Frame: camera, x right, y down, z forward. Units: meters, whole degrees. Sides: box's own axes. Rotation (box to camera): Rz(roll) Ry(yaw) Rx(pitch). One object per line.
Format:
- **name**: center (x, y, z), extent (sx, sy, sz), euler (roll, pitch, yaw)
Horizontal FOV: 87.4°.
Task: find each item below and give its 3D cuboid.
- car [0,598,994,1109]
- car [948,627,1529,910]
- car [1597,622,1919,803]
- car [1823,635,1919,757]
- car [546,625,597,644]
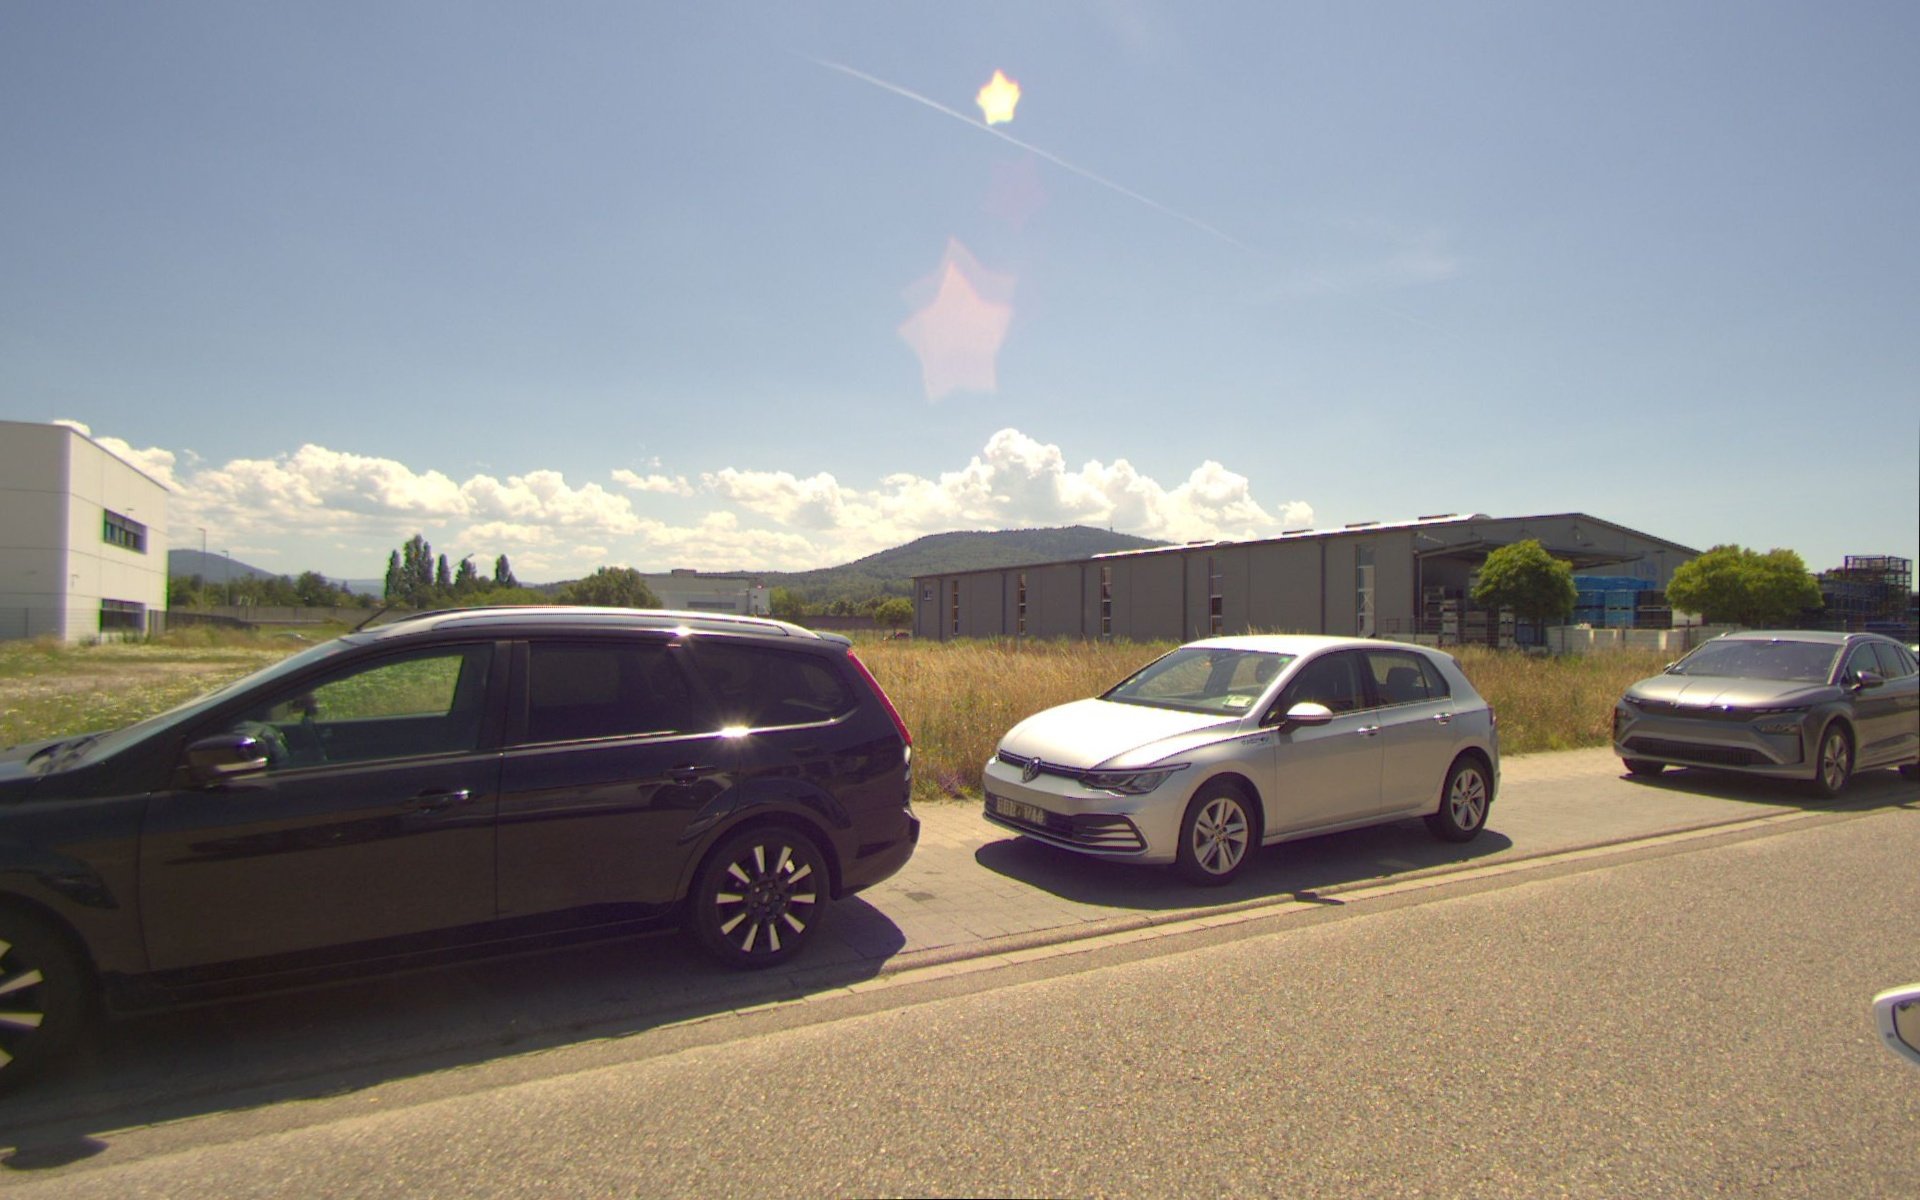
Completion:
- **car**: center (-2.140, 0.807, 4.520), extent (4.329, 1.537, 1.754), euler (2, -1, -31)
- **car**: center (2.132, 0.974, 7.261), extent (4.156, 1.470, 1.753), euler (2, -1, -33)
- **car**: center (9.154, 1.109, 11.124), extent (4.412, 1.628, 1.781), euler (2, -1, -31)
- **car**: center (13.904, 1.305, 14.077), extent (3.693, 1.545, 1.685), euler (2, -1, -31)
- **car**: center (-41.488, 3.708, 107.362), extent (4.864, 2.040, 1.984), euler (2, -2, -31)
